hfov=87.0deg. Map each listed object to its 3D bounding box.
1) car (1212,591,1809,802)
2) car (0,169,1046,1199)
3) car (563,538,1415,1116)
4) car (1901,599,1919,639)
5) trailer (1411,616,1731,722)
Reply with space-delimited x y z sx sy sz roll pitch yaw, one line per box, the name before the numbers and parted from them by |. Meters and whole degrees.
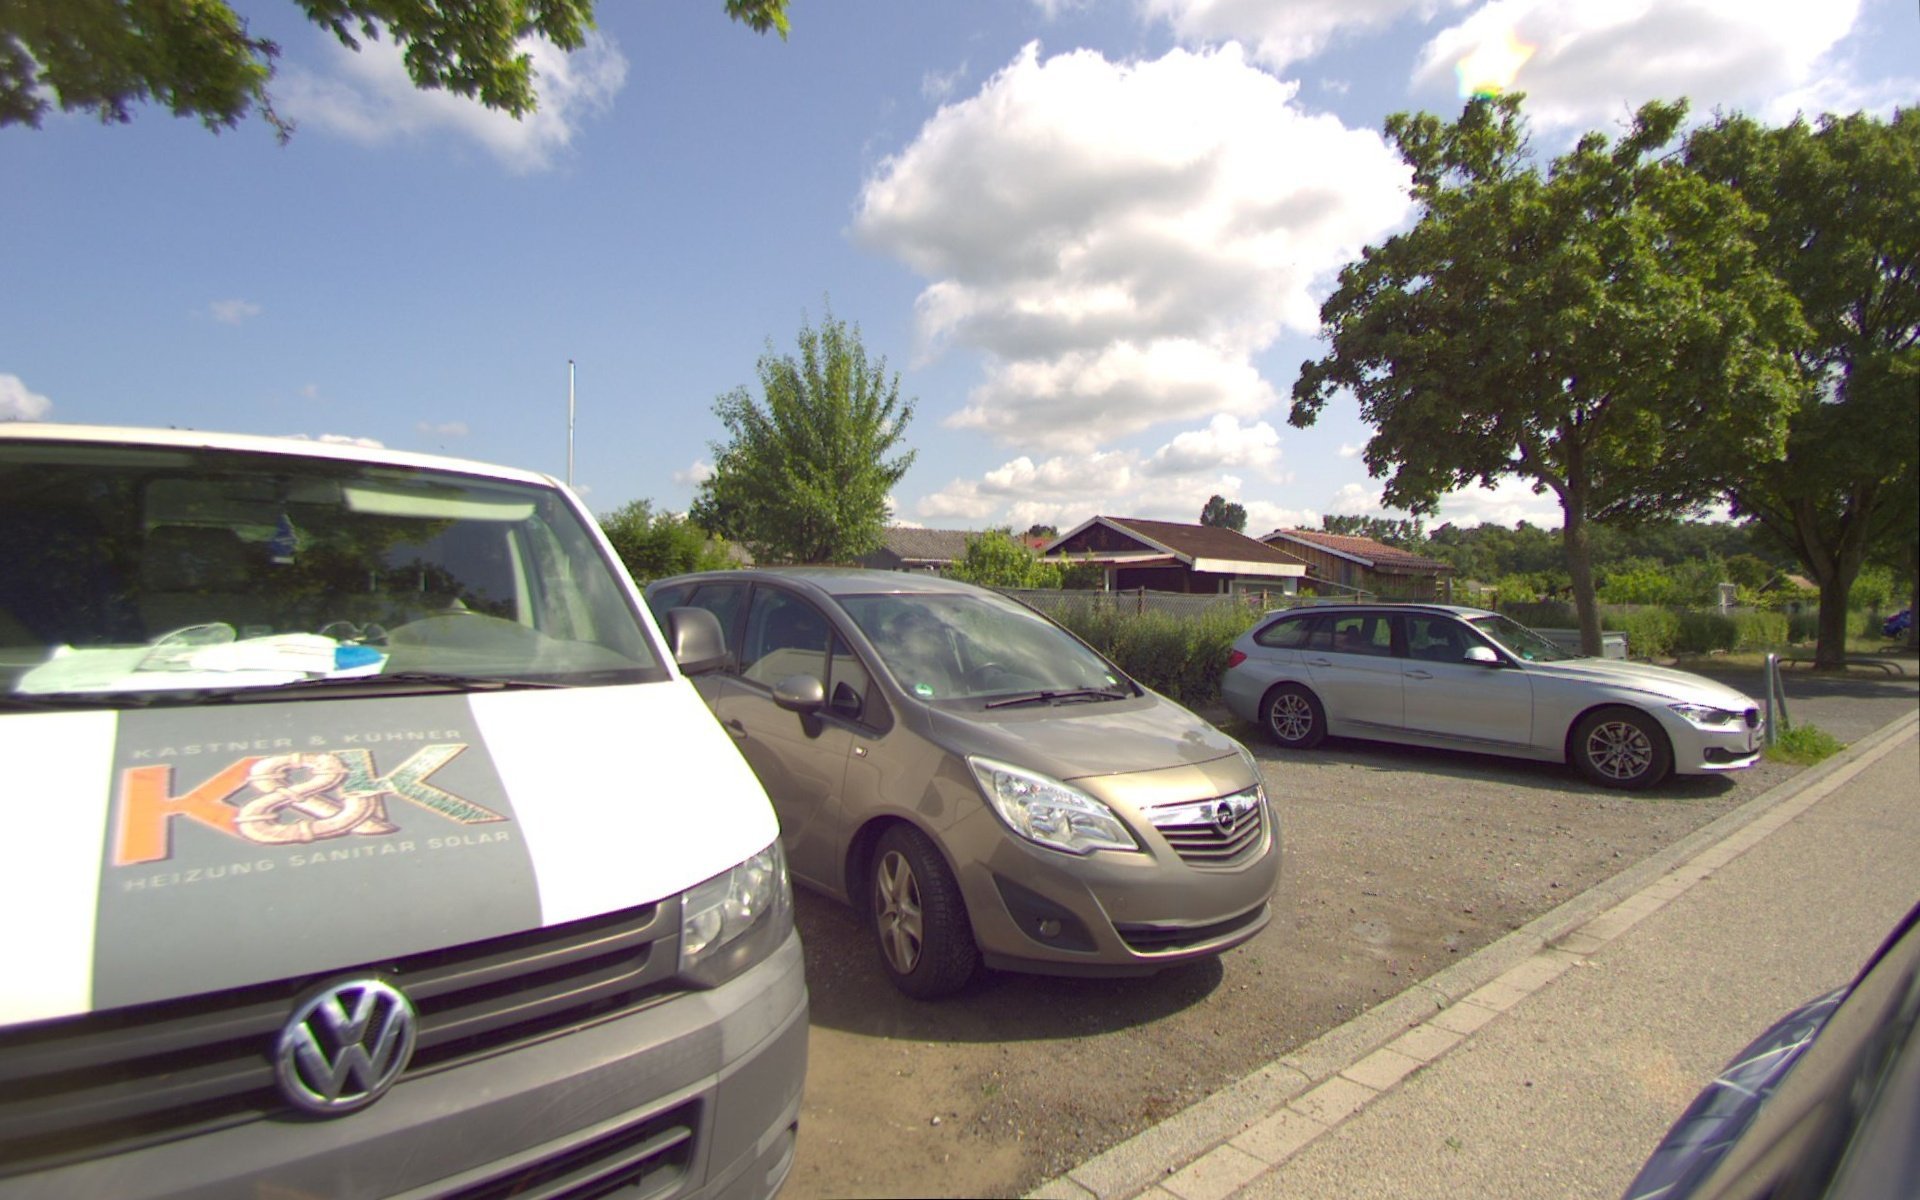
car | 4.901 0.672 9.547 1.966 1.484 4.582 1 0 -43
car | -2.144 0.448 3.117 2.075 1.910 4.642 1 1 -42
car | -0.282 0.572 5.094 1.964 1.612 4.253 1 1 -40
car | 40.997 0.813 40.994 1.750 1.602 4.111 1 0 -42
trailer | 7.893 0.800 13.223 1.965 1.157 3.106 0 0 -40
